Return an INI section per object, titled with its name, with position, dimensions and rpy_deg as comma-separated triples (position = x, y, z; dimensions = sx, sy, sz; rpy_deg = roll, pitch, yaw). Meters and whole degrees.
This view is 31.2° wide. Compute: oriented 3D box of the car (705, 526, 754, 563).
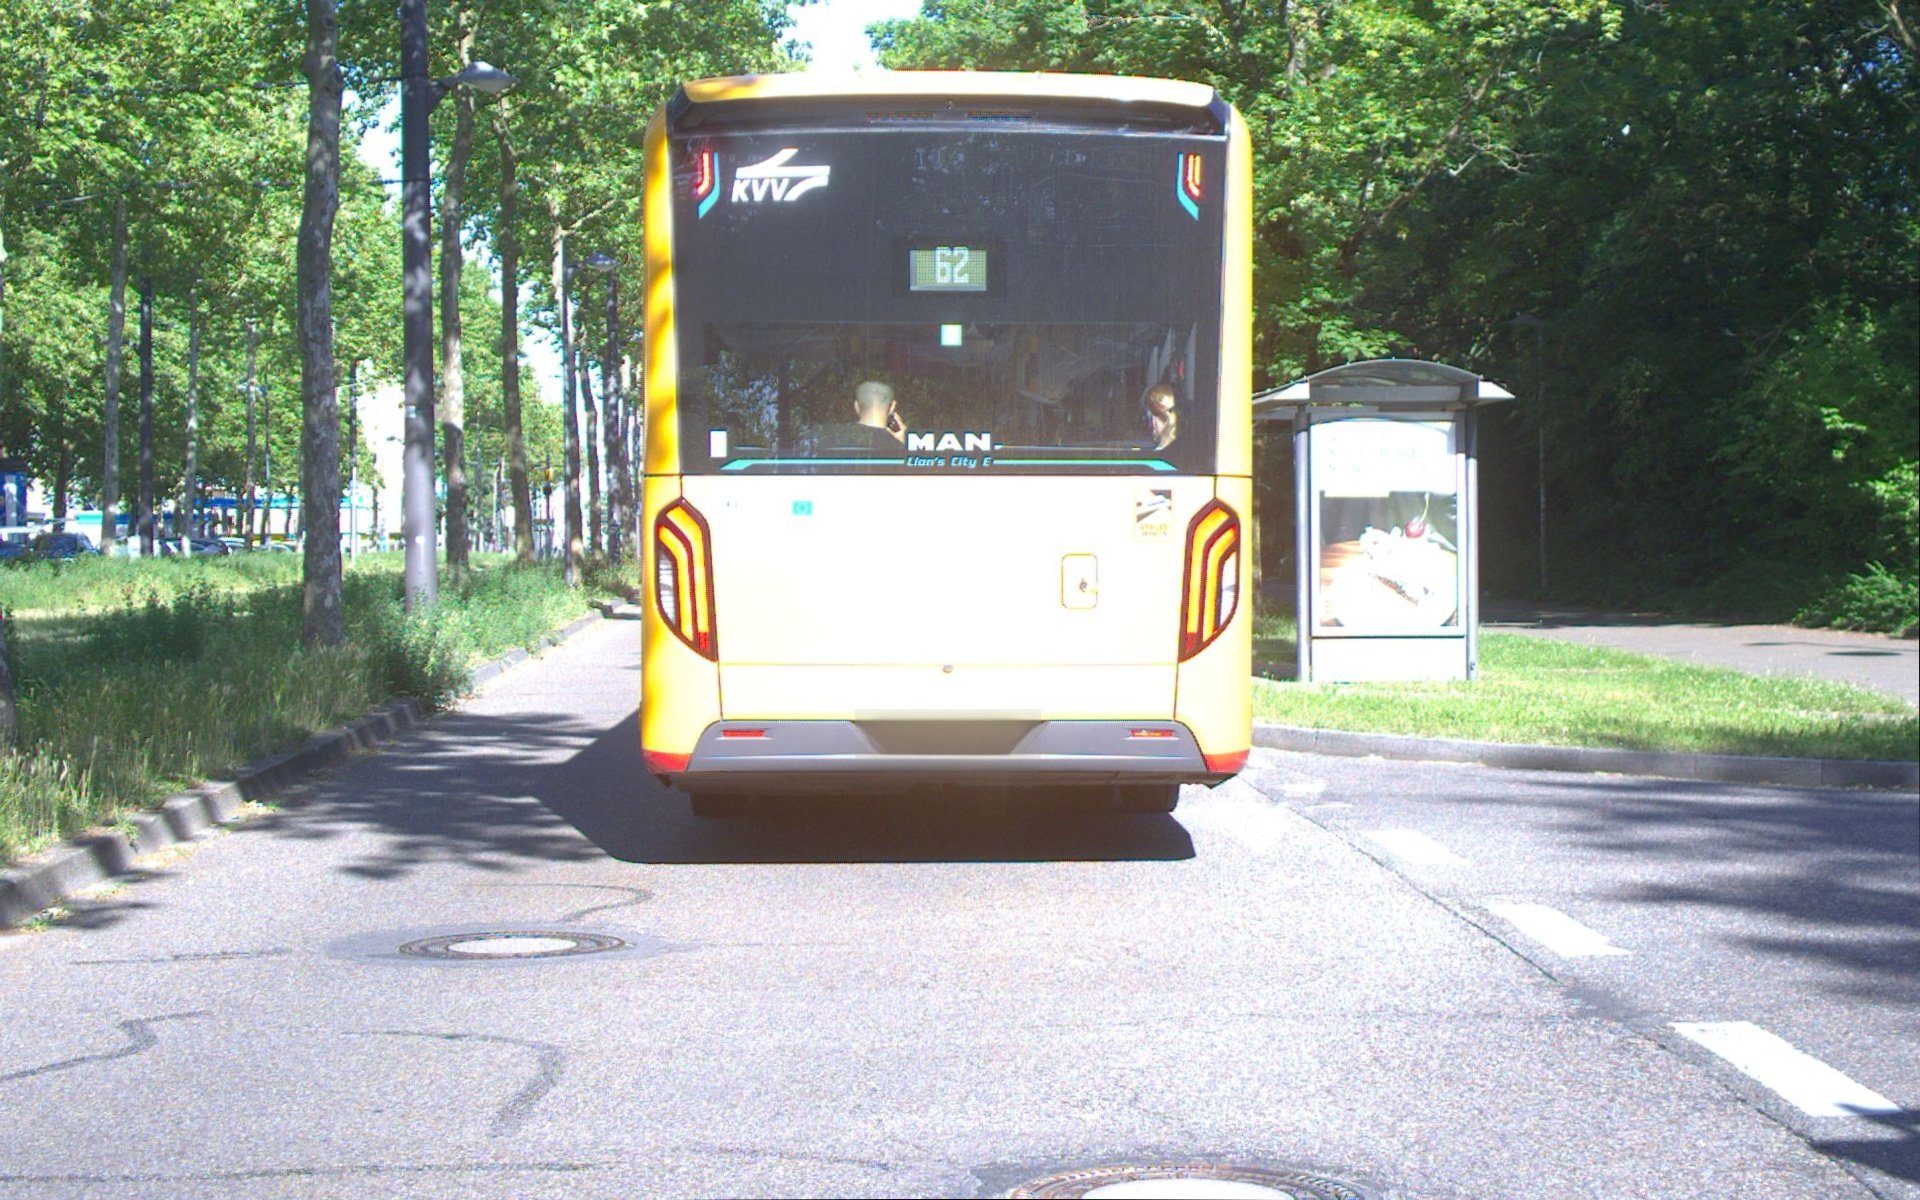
[car]
position = -11.287, -2.723, 168.543
dimensions = 1.986, 1.637, 4.134
rpy_deg = 2, 2, 1

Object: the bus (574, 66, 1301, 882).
[bus]
position = -0.243, -0.642, 19.869
dimensions = 2.899, 3.255, 12.219
rpy_deg = 0, 1, -1

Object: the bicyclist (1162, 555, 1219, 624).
[bicyclist]
position = 5.598, -0.270, 83.678
dimensions = 1.179, 1.655, 1.029
rpy_deg = -1, 1, -9
